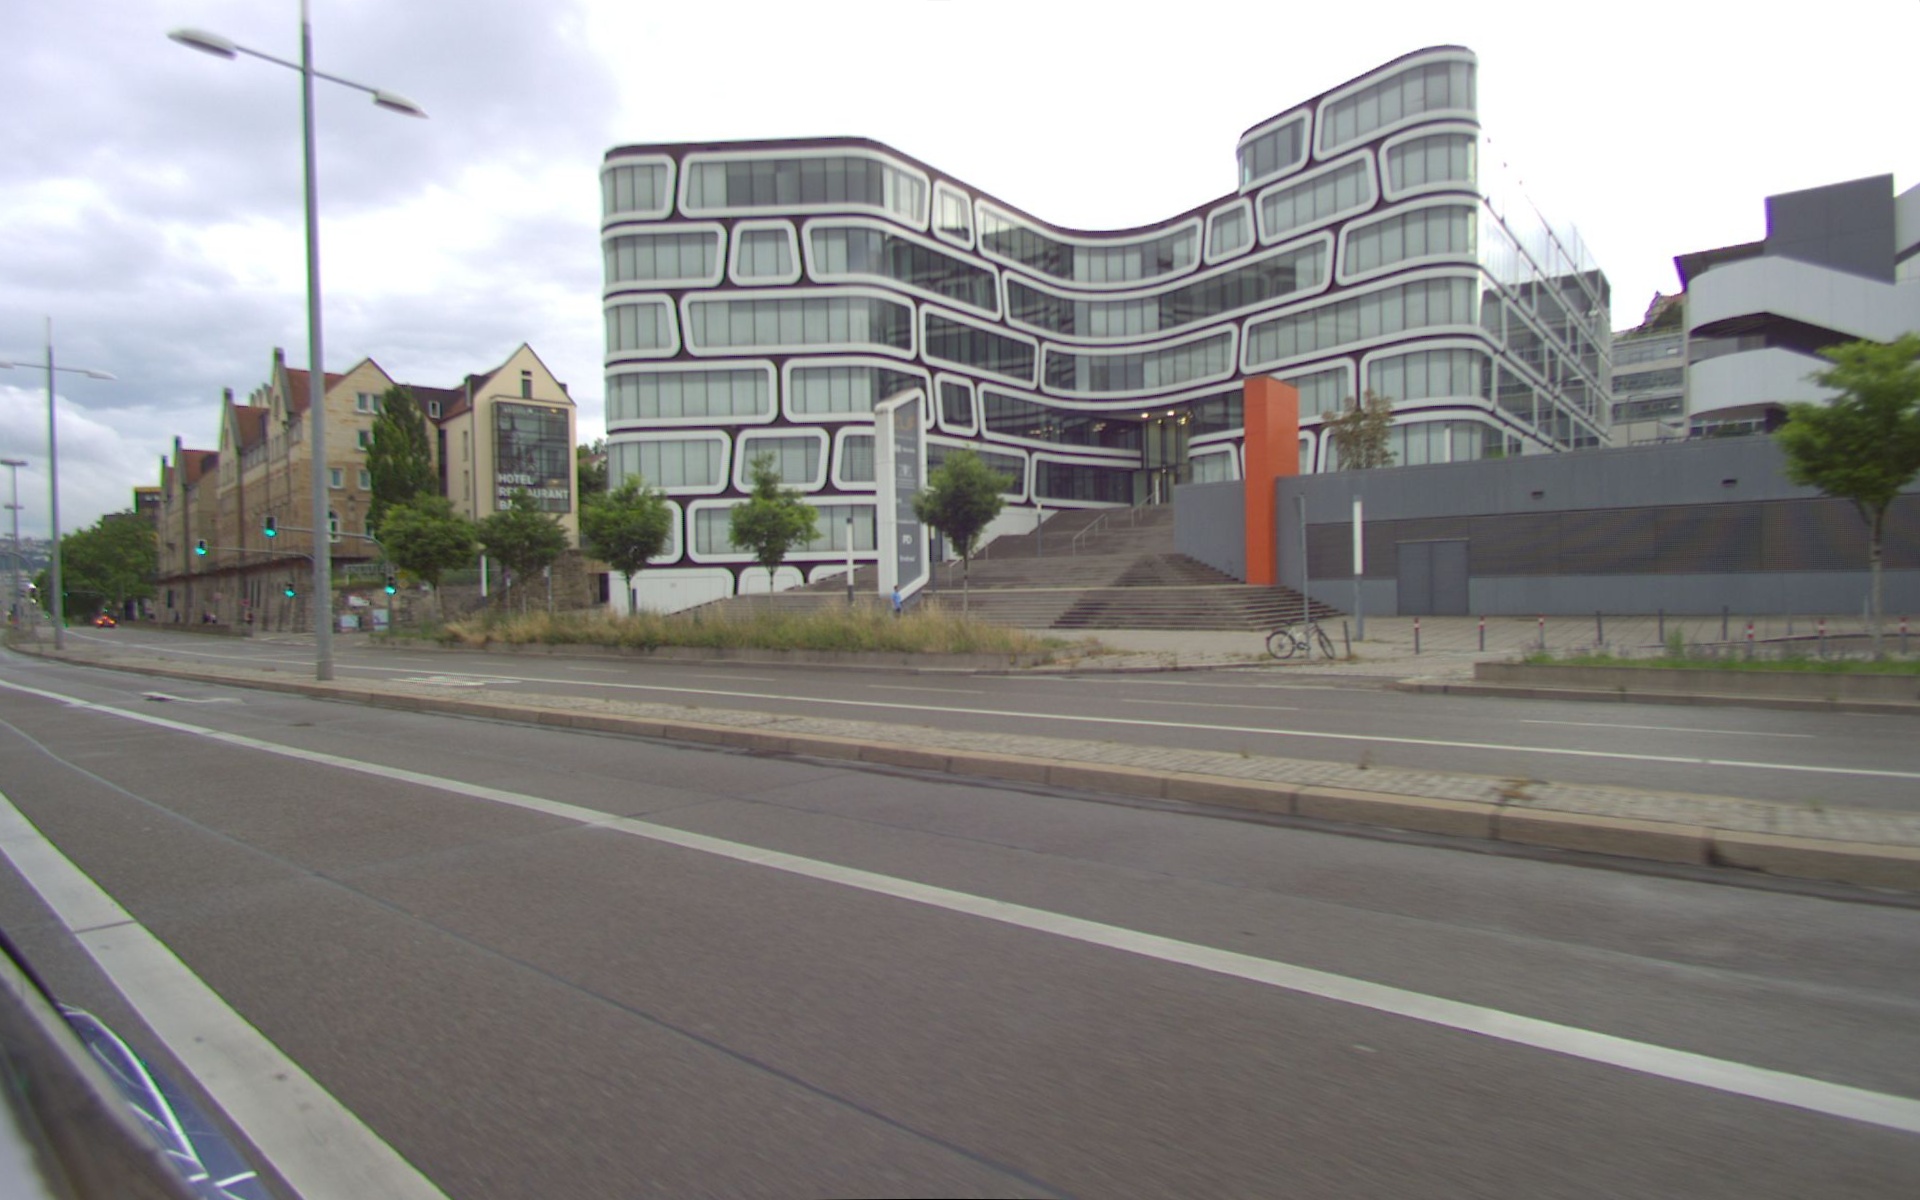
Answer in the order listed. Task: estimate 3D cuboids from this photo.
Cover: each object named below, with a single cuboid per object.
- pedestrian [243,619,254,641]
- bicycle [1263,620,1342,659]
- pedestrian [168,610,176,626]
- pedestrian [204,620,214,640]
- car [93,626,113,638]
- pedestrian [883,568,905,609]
[{"bbox_3d":[-58.018,2.455,82.528,0.668,1.792,0.684,0,0,-44],"label":"pedestrian"},{"bbox_3d":[7.983,0.913,23.615,1.637,0.864,0.608,0,0,7],"label":"bicycle"},{"bbox_3d":[-89.933,2.049,115.548,0.668,1.792,0.684,0,0,-44],"label":"pedestrian"},{"bbox_3d":[-69.190,2.725,93.216,0.668,1.792,0.684,0,0,-44],"label":"pedestrian"},{"bbox_3d":[-110.993,4.154,131.005,1.691,1.475,4.003,-2,0,-44],"label":"car"},{"bbox_3d":[-2.631,-0.456,40.182,0.640,1.623,0.604,0,0,43],"label":"pedestrian"}]
